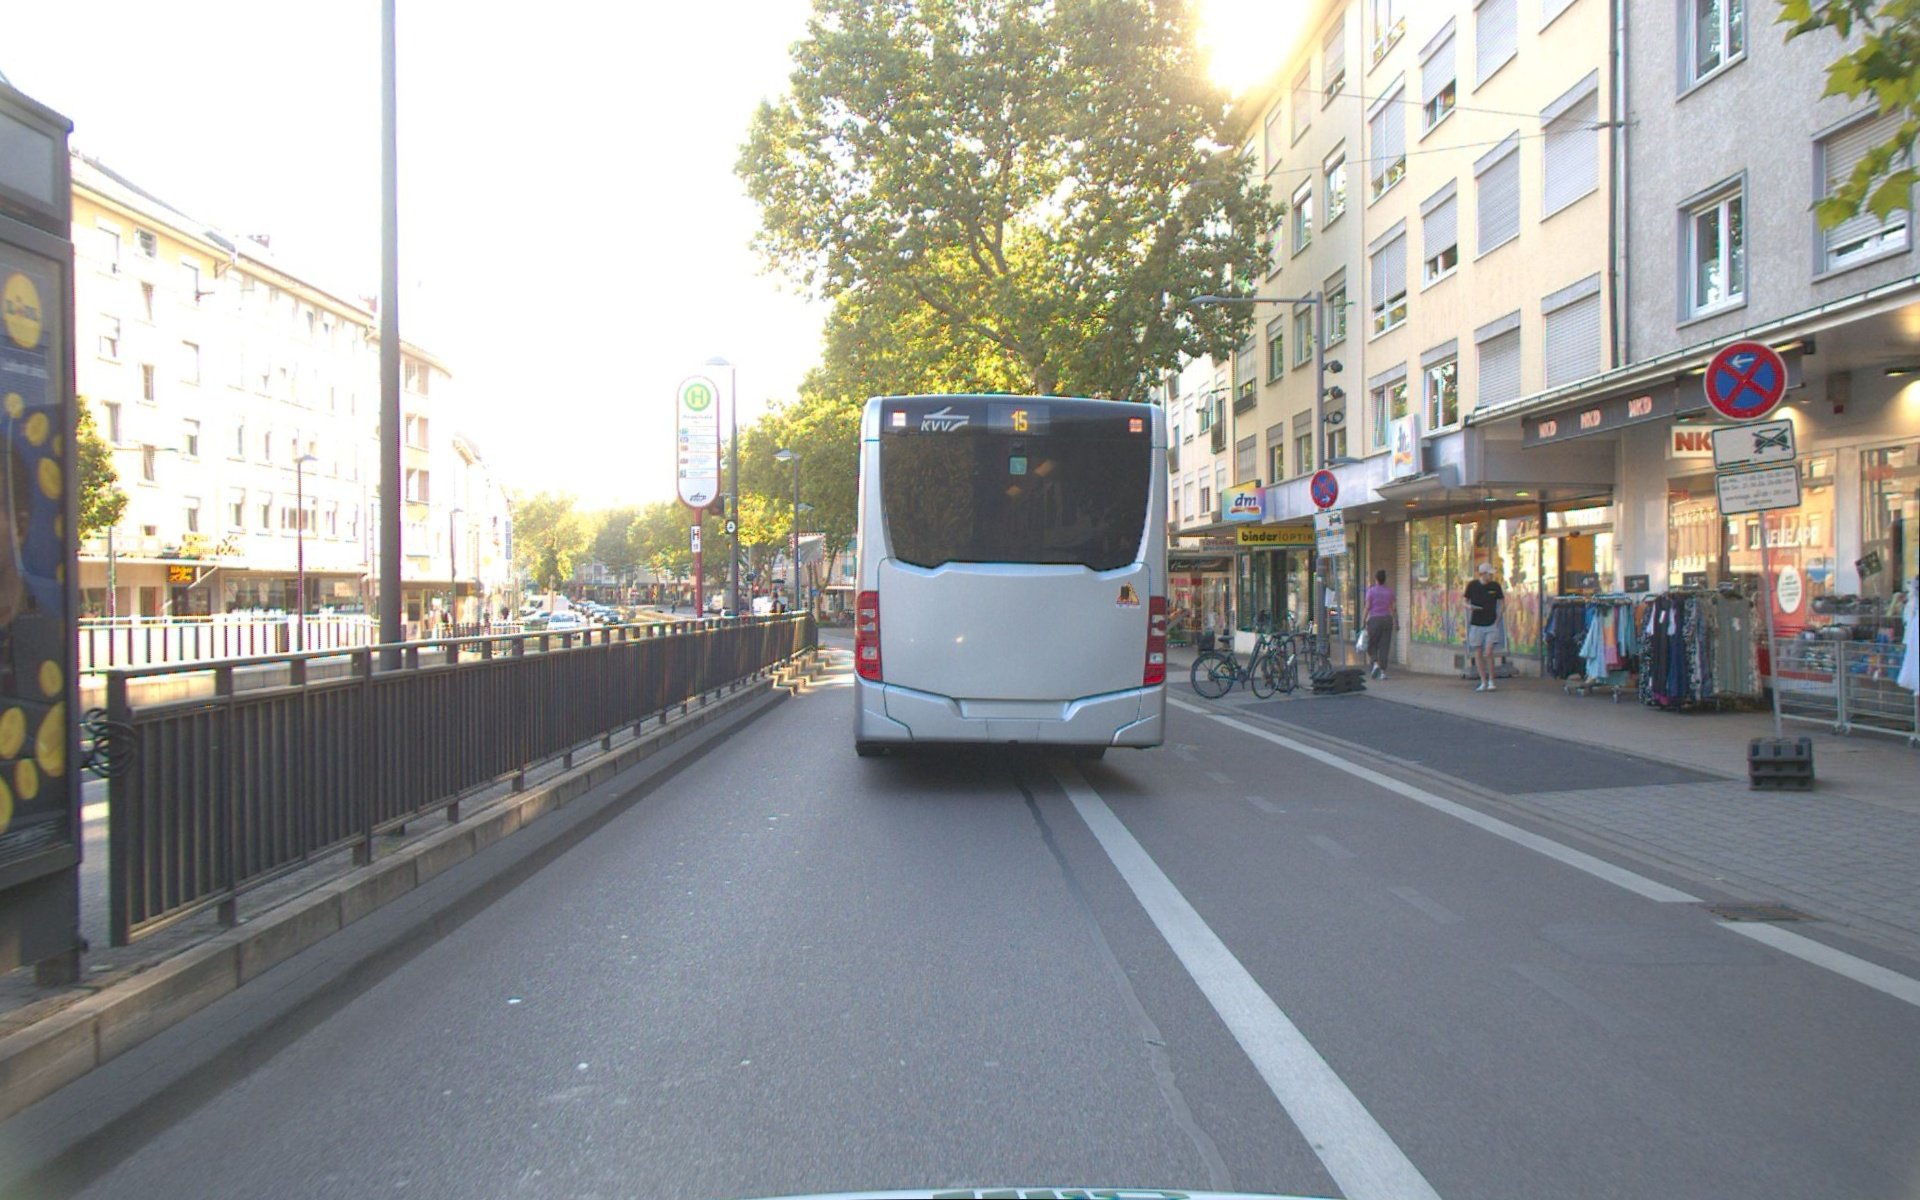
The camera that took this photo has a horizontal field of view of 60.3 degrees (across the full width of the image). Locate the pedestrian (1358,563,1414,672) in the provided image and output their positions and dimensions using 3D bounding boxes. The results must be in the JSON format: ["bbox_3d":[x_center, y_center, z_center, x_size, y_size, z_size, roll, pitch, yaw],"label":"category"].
[{"bbox_3d":[7.287,0.300,28.303,0.709,1.827,0.766,-1,0,-1],"label":"pedestrian"}]

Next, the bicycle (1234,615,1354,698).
[{"bbox_3d":[5.134,0.852,25.437,1.678,1.096,0.589,-5,0,-19],"label":"bicycle"}]

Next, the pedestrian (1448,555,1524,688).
[{"bbox_3d":[7.507,0.298,23.636,0.709,1.826,0.766,-4,0,-1],"label":"pedestrian"}]

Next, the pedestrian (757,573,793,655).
[{"bbox_3d":[-5.963,0.437,53.261,0.870,2.591,1.164,-1,0,6],"label":"pedestrian"}]

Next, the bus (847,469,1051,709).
[{"bbox_3d":[-0.445,-0.179,26.432,2.643,3.172,9.062,0,0,-4],"label":"bus"}]

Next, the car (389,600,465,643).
[{"bbox_3d":[-22.487,0.884,69.959,1.953,1.680,3.999,-1,0,-1],"label":"car"}]

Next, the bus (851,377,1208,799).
[{"bbox_3d":[0.233,-0.124,17.235,2.643,3.172,9.373,0,0,-4],"label":"bus"}]

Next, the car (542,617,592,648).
[{"bbox_3d":[-22.756,1.857,95.945,1.953,1.680,3.999,-1,0,-1],"label":"car"}]

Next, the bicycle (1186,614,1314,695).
[{"bbox_3d":[4.599,0.859,26.328,1.848,1.096,0.754,-5,0,2],"label":"bicycle"}]
